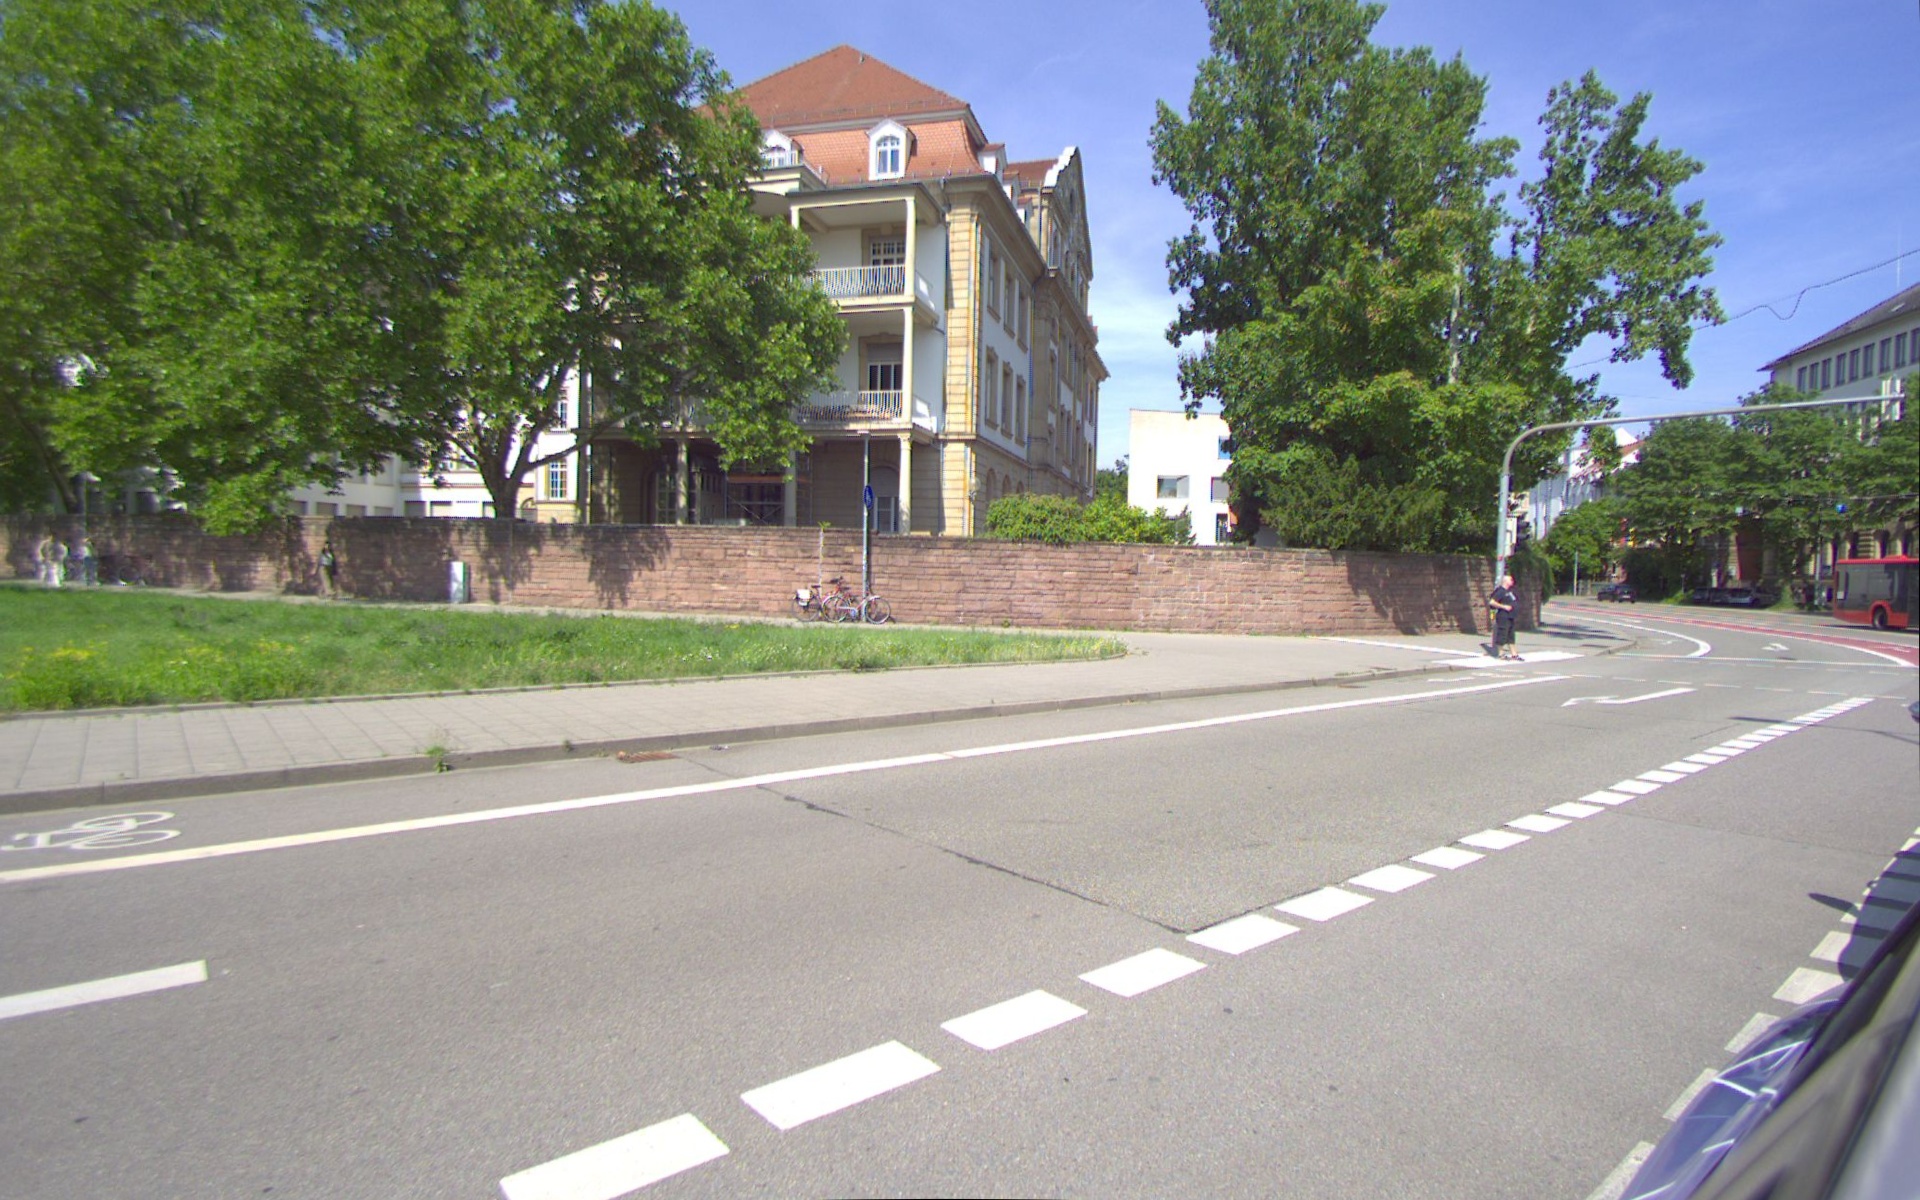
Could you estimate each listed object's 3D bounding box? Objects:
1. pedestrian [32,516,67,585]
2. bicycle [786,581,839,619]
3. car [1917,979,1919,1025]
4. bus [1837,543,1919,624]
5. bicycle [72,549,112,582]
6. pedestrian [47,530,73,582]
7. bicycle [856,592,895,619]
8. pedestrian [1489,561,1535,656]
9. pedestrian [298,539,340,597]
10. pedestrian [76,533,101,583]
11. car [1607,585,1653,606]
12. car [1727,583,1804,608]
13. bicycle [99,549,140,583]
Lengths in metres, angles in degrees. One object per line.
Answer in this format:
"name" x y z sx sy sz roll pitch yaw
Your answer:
"pedestrian" -27.525 -1.496 30.592 0.586 2.038 0.522 1 2 9
"bicycle" -3.613 0.010 24.771 1.202 0.894 0.395 1 2 -21
"car" 5.323 0.651 3.967 4.077 1.605 1.688 0 3 -39
"bus" 38.184 -0.627 37.702 3.088 3.133 12.357 0 1 14
"bicycle" -28.901 -1.141 33.699 1.432 1.046 0.444 3 2 24
"pedestrian" -28.274 -1.390 31.781 0.700 1.597 0.516 3 3 41
"bicycle" -2.089 0.134 24.993 0.929 0.609 0.275 2 2 -2
"pedestrian" 12.172 0.177 22.313 0.790 2.038 0.608 2 1 35
"pedestrian" -17.849 -0.892 28.193 0.900 1.567 0.501 2 2 14
"pedestrian" -27.902 -1.346 32.392 0.700 1.597 0.516 3 3 41
"car" 53.173 -0.390 80.442 1.973 1.638 3.978 0 0 17
"car" 59.499 -0.351 74.804 3.941 1.682 1.993 0 3 14
"bicycle" -27.466 -1.121 33.071 1.432 1.046 0.444 3 2 24
